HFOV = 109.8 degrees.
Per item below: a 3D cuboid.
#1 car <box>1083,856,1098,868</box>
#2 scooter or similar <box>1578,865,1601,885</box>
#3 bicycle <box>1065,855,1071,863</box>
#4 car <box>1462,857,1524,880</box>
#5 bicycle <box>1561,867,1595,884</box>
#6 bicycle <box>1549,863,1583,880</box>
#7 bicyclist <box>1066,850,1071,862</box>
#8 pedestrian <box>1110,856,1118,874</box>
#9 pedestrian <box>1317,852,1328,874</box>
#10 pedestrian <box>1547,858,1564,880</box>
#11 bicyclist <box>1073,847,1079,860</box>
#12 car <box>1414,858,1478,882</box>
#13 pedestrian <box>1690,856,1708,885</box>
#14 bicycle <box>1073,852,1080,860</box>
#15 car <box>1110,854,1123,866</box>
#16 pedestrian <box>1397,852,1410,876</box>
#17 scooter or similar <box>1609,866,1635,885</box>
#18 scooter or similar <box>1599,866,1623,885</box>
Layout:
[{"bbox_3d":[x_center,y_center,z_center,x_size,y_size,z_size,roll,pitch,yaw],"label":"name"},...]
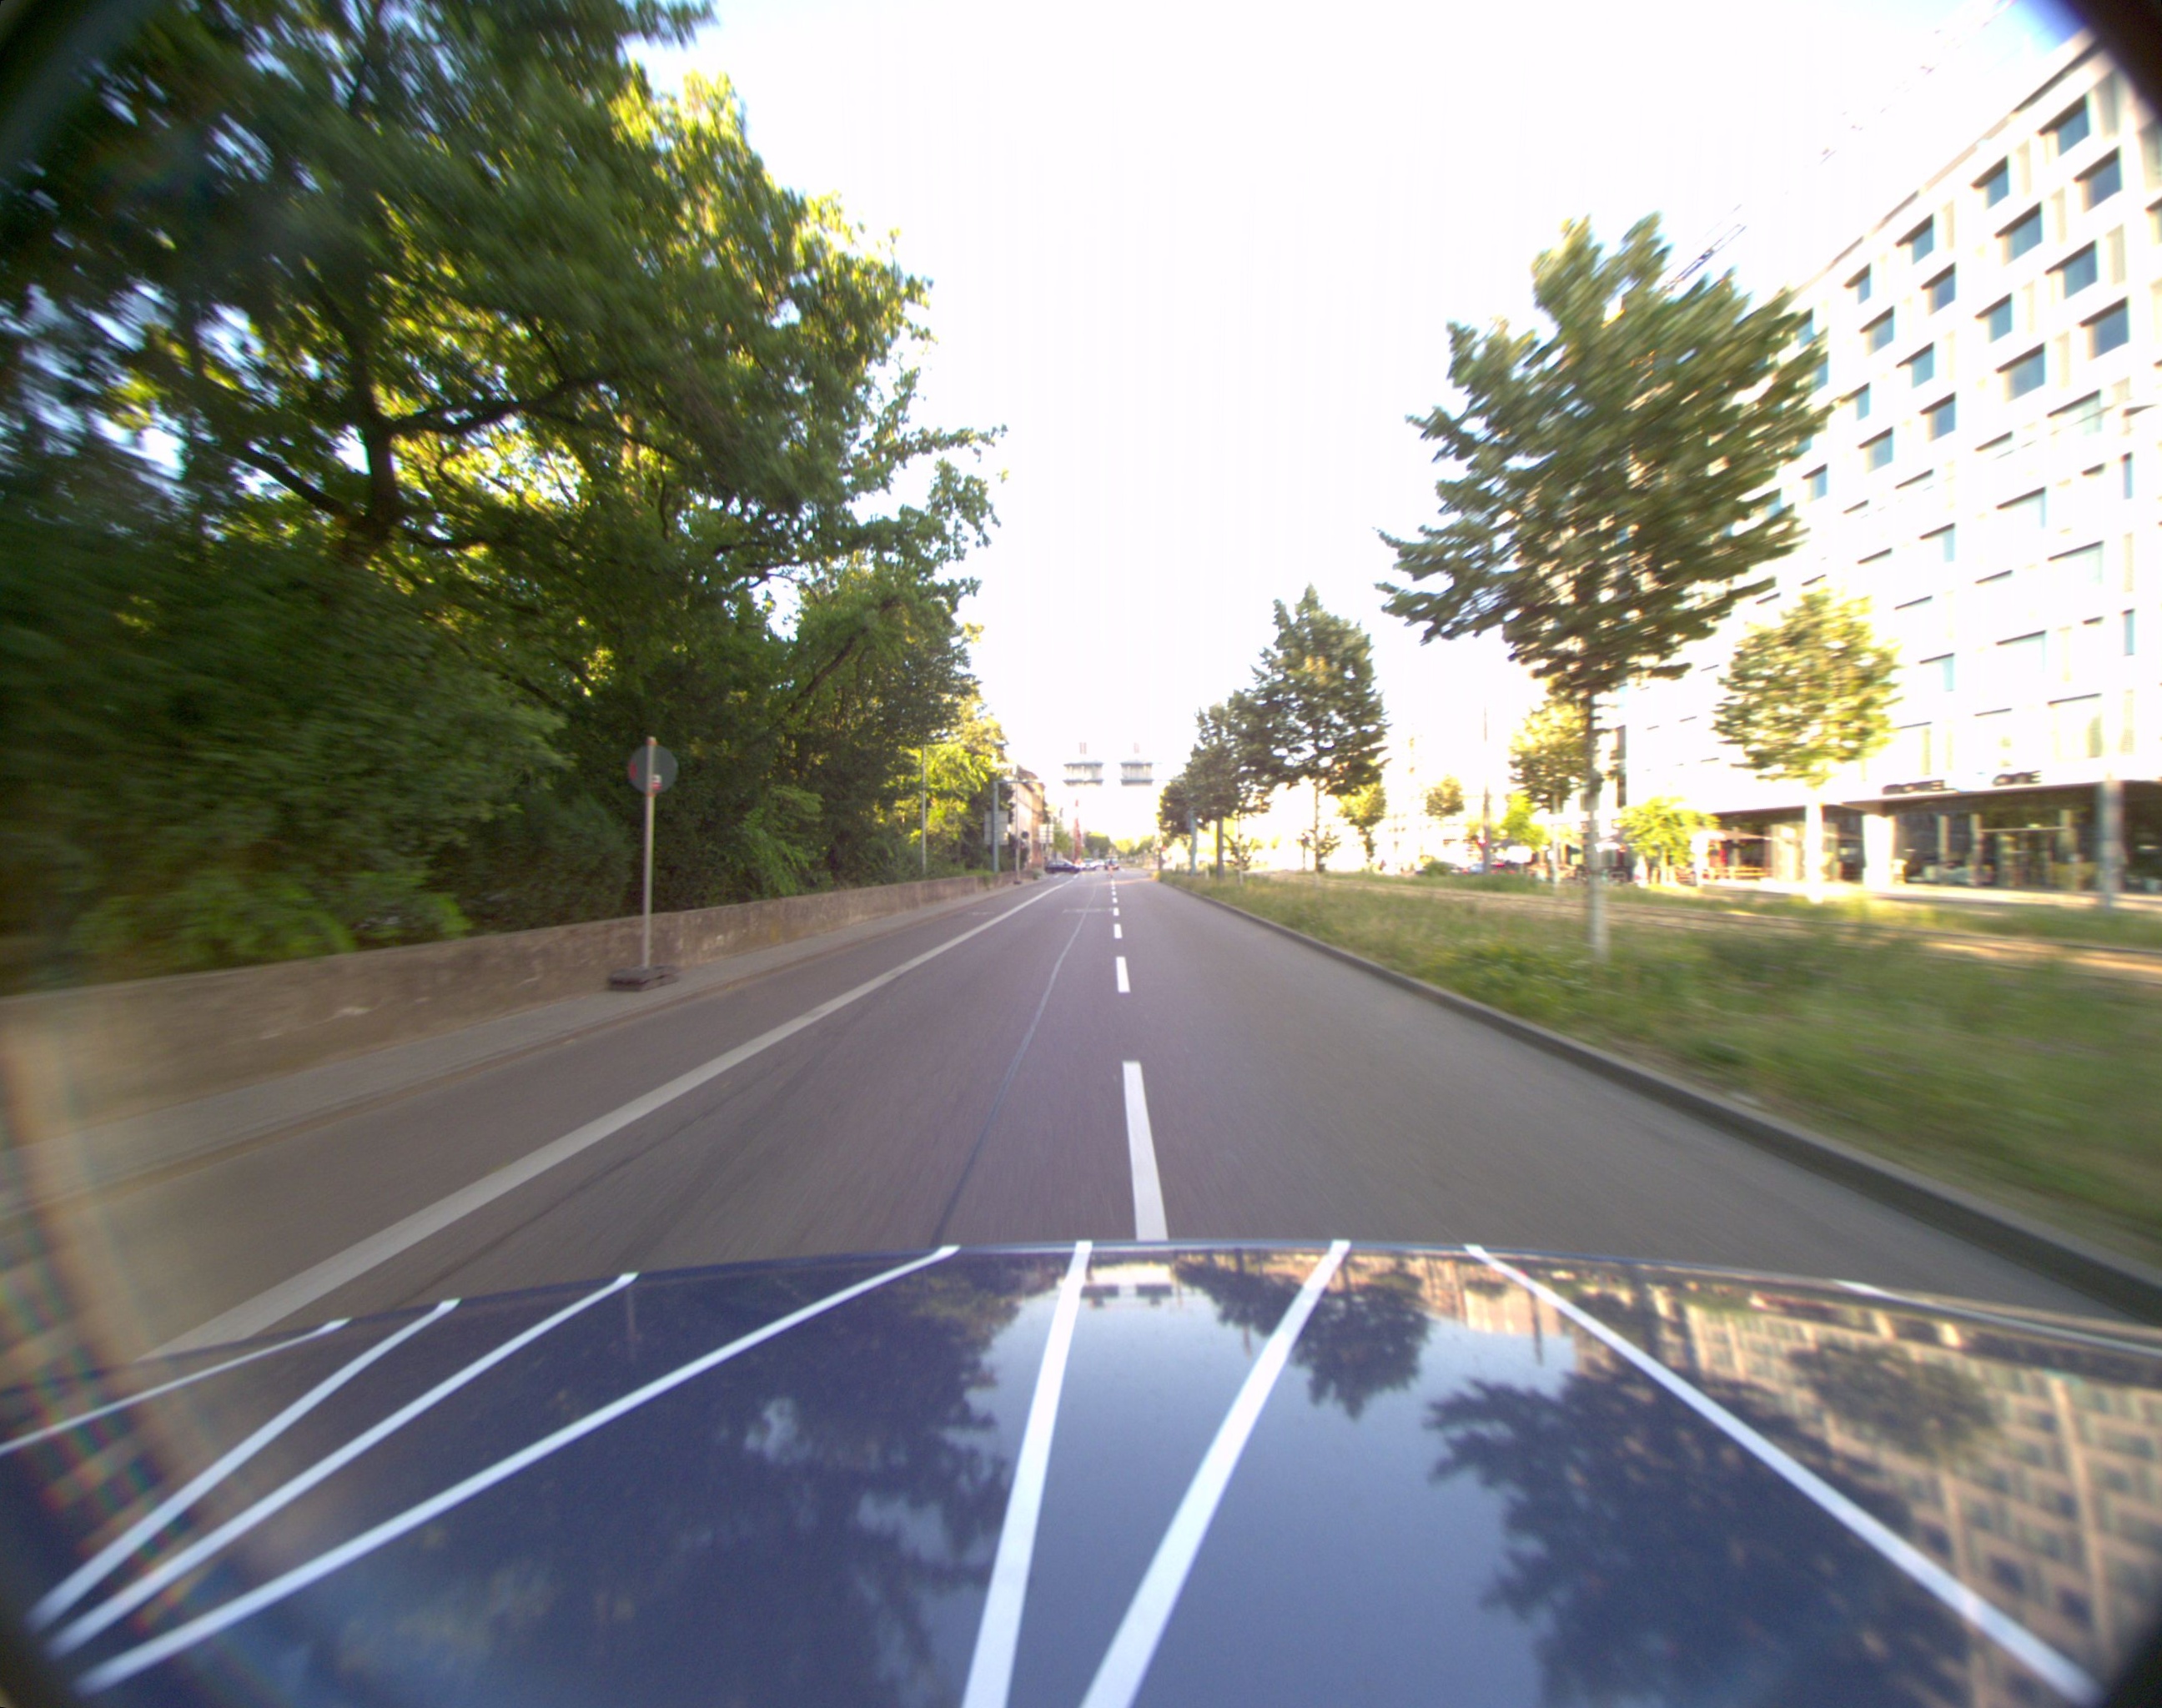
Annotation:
[{"bbox_3d":[1.357,1.140,104.452,1.833,1.588,4.261,-1,0,4],"label":"car"},{"bbox_3d":[31.972,1.308,47.785,1.184,1.210,0.338,0,1,3],"label":"scooter or similar"},{"bbox_3d":[-1.715,0.698,102.895,0.528,1.045,2.049,3,0,6],"label":"bicycle"},{"bbox_3d":[26.994,0.911,49.961,1.890,1.431,4.224,0,0,1],"label":"car"},{"bbox_3d":[32.040,1.391,49.001,1.914,1.053,0.443,-2,0,-1],"label":"bicycle"},{"bbox_3d":[32.139,1.143,50.355,1.914,1.053,0.443,-2,0,-1],"label":"bicycle"},{"bbox_3d":[-1.700,0.253,102.840,0.509,1.691,0.768,2,2,6],"label":"bicyclist"},{"bbox_3d":[2.773,0.927,64.624,0.579,1.495,0.619,0,0,11],"label":"pedestrian"},{"bbox_3d":[20.509,0.775,64.496,0.708,1.825,0.763,-1,0,1],"label":"pedestrian"},{"bbox_3d":[35.002,1.087,56.033,0.681,1.594,0.707,-3,0,-21],"label":"pedestrian"},{"bbox_3d":[-0.653,-0.112,102.190,0.705,1.691,0.768,-2,0,5],"label":"bicyclist"},{"bbox_3d":[24.035,1.007,50.268,2.019,1.432,4.802,2,0,2],"label":"car"},{"bbox_3d":[33.980,0.902,41.781,0.498,1.590,0.604,-3,0,4],"label":"pedestrian"},{"bbox_3d":[-0.647,0.306,102.199,0.721,1.045,2.044,-2,1,4],"label":"bicycle"},{"bbox_3d":[4.896,0.838,105.180,1.702,1.588,4.261,-1,0,4],"label":"car"},{"bbox_3d":[26.151,0.790,61.624,0.680,1.912,0.709,-4,0,4],"label":"pedestrian"},{"bbox_3d":[31.655,1.251,44.474,1.184,1.051,0.338,-5,-1,3],"label":"scooter or similar"},{"bbox_3d":[31.922,1.284,45.793,1.184,1.157,0.338,0,1,3],"label":"scooter or similar"}]
